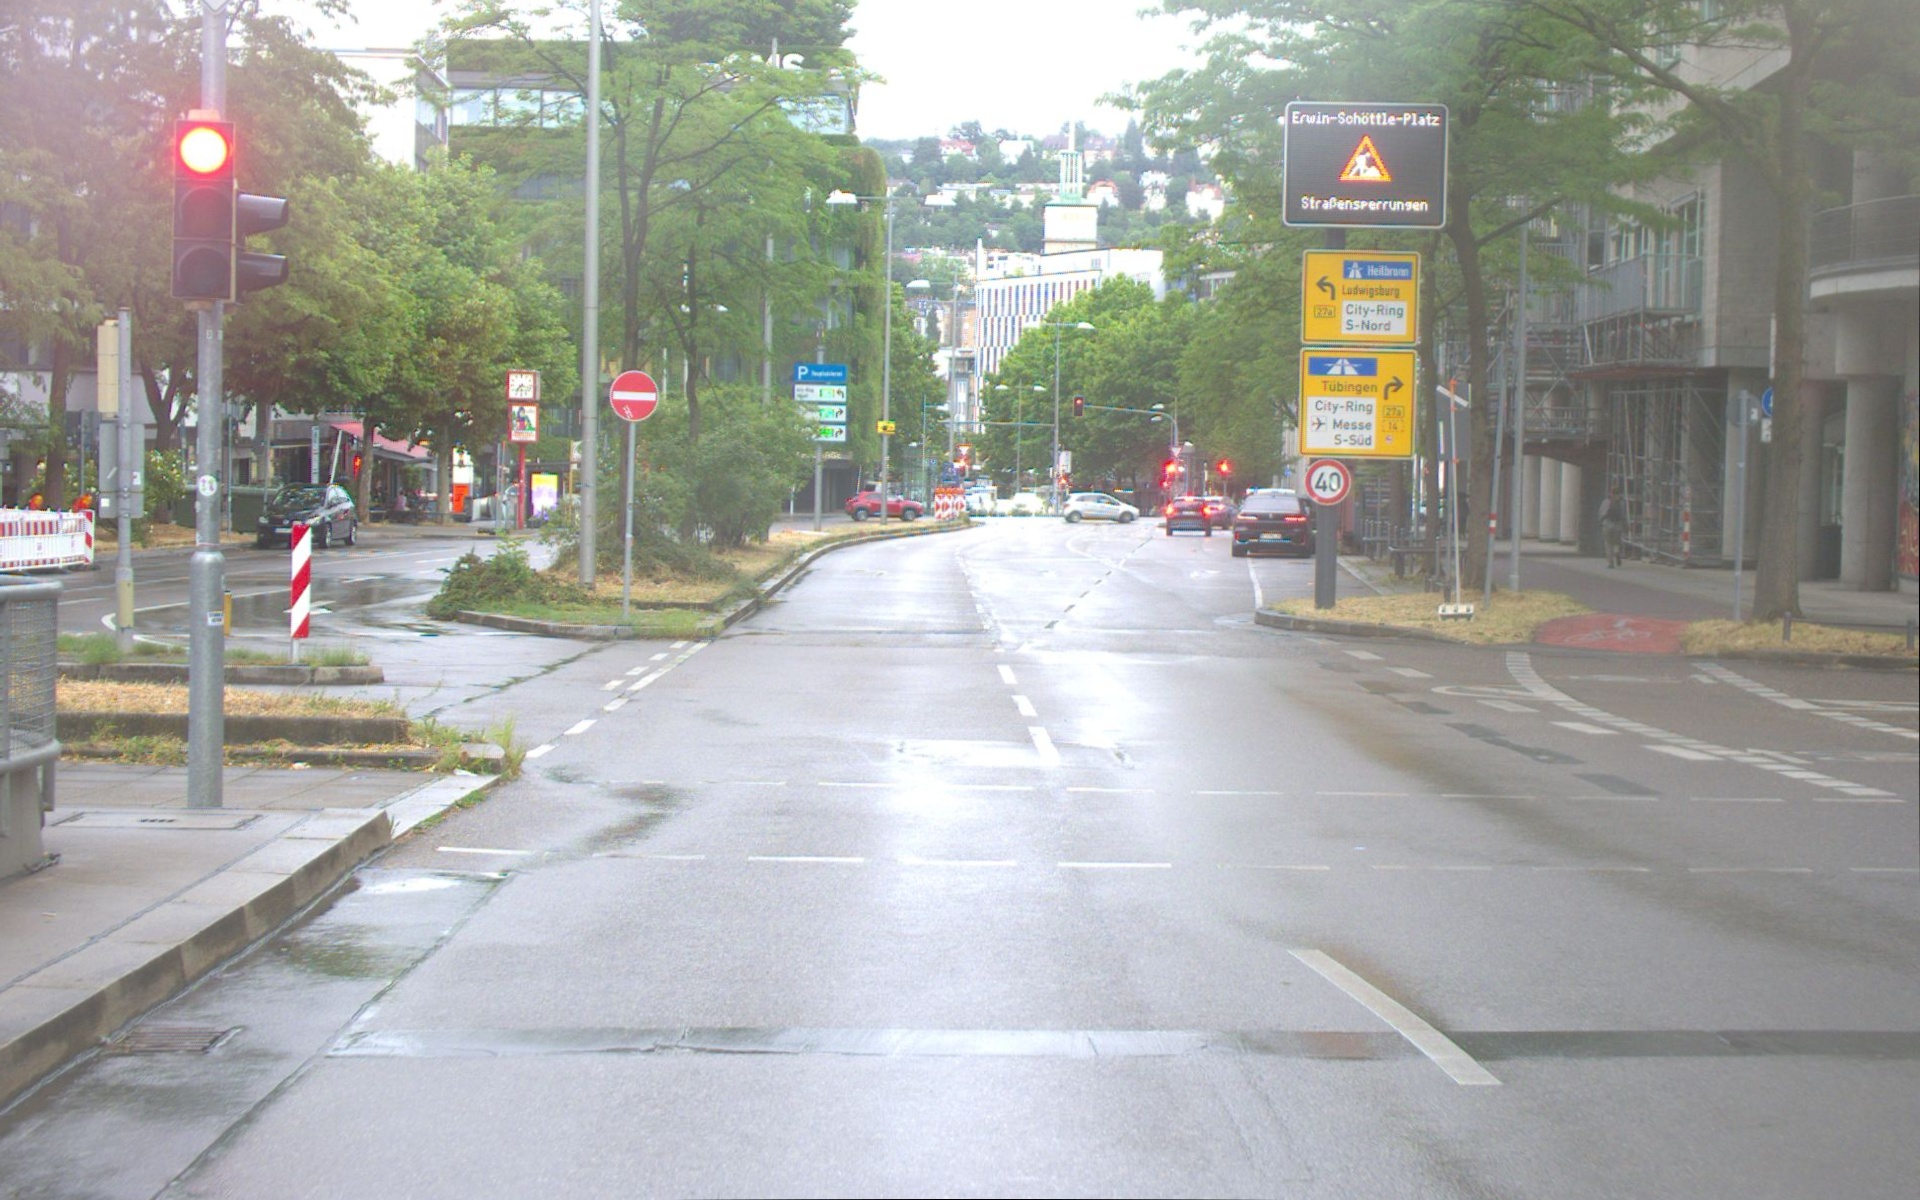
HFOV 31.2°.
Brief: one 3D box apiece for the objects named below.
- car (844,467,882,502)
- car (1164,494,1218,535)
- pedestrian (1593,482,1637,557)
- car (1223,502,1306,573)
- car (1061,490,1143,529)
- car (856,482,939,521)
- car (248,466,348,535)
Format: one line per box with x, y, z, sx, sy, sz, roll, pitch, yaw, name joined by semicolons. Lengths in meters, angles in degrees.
-6.385;-7.582;226.637;2.128;2.157;5.197;2;1;2;car
8.953;-3.315;133.682;1.746;1.514;4.107;2;1;-1;car
13.700;-1.682;71.882;0.786;1.552;0.533;2;1;4;pedestrian
7.616;-1.568;86.237;1.901;1.678;3.910;2;1;4;car
7.592;-4.829;183.823;4.055;1.898;1.955;2;1;-7;car
-3.313;-5.216;181.756;4.008;1.913;1.886;2;1;-12;car
-16.536;-2.506;85.984;1.780;1.550;3.894;2;3;-1;car
